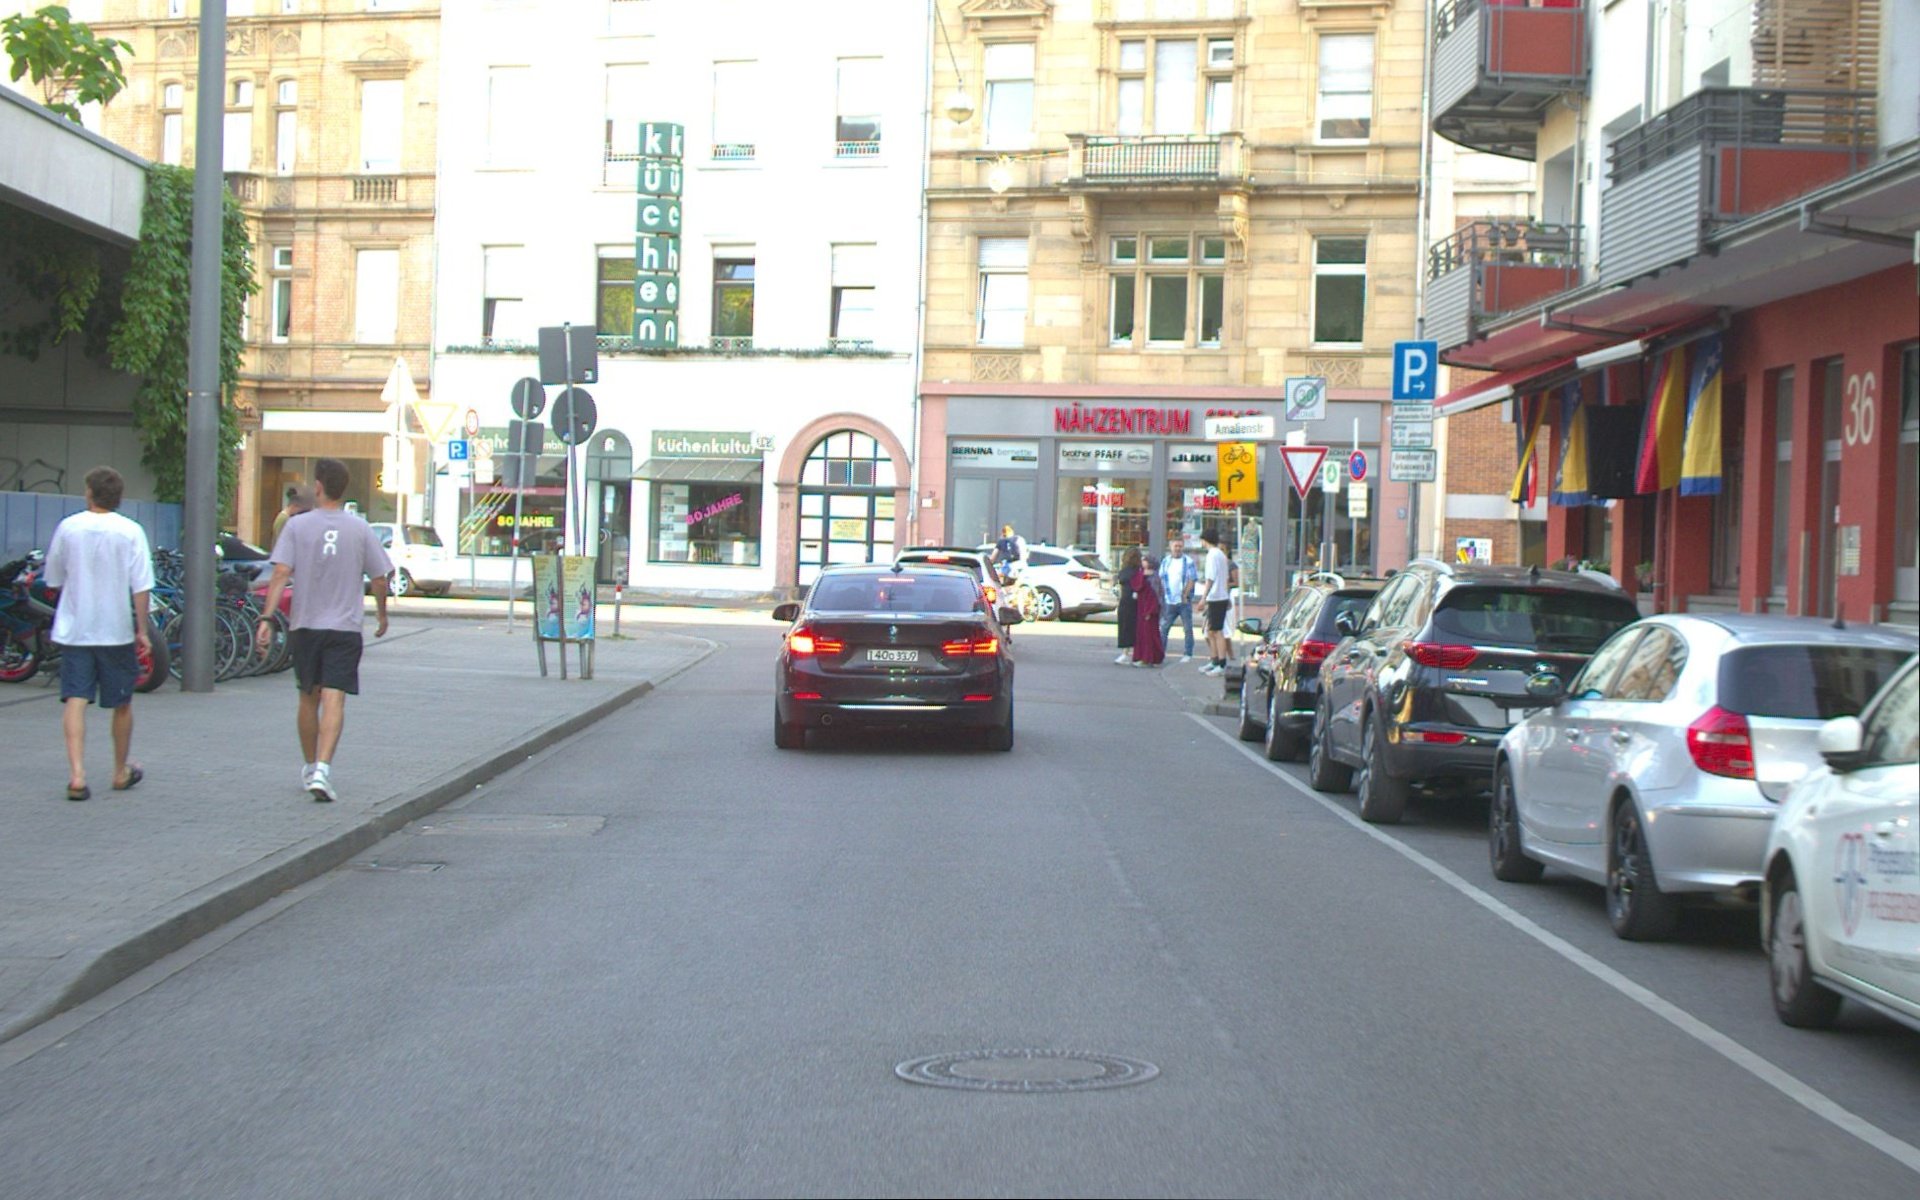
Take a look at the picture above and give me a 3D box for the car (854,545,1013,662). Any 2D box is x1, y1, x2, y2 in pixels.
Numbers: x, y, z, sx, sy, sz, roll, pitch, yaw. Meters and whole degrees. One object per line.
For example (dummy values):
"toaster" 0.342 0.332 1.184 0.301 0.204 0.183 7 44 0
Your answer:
"car" -0.316 0.009 46.832 1.878 1.468 4.000 1 1 3

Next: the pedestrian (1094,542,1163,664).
"pedestrian" 2.273 0.036 46.324 0.724 1.603 0.650 3 1 -9

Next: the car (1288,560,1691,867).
"car" 3.340 0.640 22.601 1.765 1.636 4.791 4 1 -1

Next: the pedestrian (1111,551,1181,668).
"pedestrian" 2.471 0.123 45.686 0.735 1.508 0.650 3 1 -9

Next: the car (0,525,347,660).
"car" -9.356 -0.100 40.912 3.986 1.496 1.892 1 1 -8

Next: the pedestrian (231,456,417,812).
"pedestrian" -3.519 0.175 19.095 0.744 1.887 1.050 3 1 0

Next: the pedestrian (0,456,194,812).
"pedestrian" -4.628 0.168 18.372 0.741 1.806 1.009 4 1 -1

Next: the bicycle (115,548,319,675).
"bicycle" -7.106 0.105 32.906 1.794 1.104 0.500 3 1 0

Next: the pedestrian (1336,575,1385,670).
"pedestrian" 5.422 0.300 46.591 0.617 1.250 0.735 1 1 5

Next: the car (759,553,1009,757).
"car" -0.553 0.365 27.338 1.765 1.370 4.791 2 1 0

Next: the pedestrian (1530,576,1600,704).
"pedestrian" 6.447 0.420 36.650 0.606 1.343 0.696 0 1 -1

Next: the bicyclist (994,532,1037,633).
"bicyclist" 0.979 -0.314 60.565 0.523 1.750 0.620 2 1 -16

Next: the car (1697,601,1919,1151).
"car" 3.605 0.853 10.887 1.606 1.507 4.048 4 1 1

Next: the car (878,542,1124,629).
"car" 0.798 -0.284 66.698 4.357 1.557 1.866 1 0 22

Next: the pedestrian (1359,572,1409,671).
"pedestrian" 5.589 0.276 45.293 0.617 1.279 0.659 1 1 8

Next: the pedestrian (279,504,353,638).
"pedestrian" -8.524 -0.387 45.506 0.673 1.740 0.655 2 1 39

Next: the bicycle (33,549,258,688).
"bicycle" -7.085 0.154 29.934 1.794 1.104 0.500 3 1 -1

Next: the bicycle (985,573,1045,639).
"bicycle" 0.961 0.098 60.587 0.536 1.104 1.801 2 1 -16

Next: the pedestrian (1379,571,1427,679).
"pedestrian" 5.370 0.299 41.686 0.491 1.299 0.418 -1 1 0

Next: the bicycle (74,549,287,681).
"bicycle" -7.081 0.133 31.277 1.794 1.104 0.500 3 1 -5

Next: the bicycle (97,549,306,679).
"bicycle" -7.049 0.124 31.981 1.794 1.104 0.500 3 1 -3

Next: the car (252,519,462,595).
"car" -12.733 -0.903 72.559 3.992 1.505 1.798 1 0 22

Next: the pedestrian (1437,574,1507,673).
"pedestrian" 6.703 0.300 45.016 0.618 1.274 0.699 2 1 37

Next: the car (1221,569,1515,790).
"car" 3.277 0.580 28.493 1.765 1.497 4.791 4 1 0

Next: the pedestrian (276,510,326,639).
"pedestrian" -8.443 -0.334 44.046 0.500 1.637 0.520 1 1 2

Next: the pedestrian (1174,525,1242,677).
"pedestrian" 3.116 0.006 43.195 0.676 1.871 0.700 2 1 13

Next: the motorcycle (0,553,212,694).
"motorcycle" -7.190 0.188 28.500 1.803 1.060 0.763 3 1 25

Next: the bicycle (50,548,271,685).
"bicycle" -7.095 0.143 30.528 1.794 1.104 0.500 3 1 2

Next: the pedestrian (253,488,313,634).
"pedestrian" -8.805 -0.507 44.712 0.583 1.876 0.633 1 1 5

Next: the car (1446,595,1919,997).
"car" 3.569 0.807 16.065 1.698 1.447 4.459 4 1 -2

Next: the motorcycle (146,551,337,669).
"motorcycle" -7.212 0.103 34.534 1.745 1.097 0.567 3 1 -34

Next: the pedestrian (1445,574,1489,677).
"pedestrian" 6.379 0.320 43.246 0.490 1.272 0.521 1 1 13

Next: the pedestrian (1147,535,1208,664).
"pedestrian" 2.979 -0.013 47.179 0.604 1.740 0.670 1 1 -17
